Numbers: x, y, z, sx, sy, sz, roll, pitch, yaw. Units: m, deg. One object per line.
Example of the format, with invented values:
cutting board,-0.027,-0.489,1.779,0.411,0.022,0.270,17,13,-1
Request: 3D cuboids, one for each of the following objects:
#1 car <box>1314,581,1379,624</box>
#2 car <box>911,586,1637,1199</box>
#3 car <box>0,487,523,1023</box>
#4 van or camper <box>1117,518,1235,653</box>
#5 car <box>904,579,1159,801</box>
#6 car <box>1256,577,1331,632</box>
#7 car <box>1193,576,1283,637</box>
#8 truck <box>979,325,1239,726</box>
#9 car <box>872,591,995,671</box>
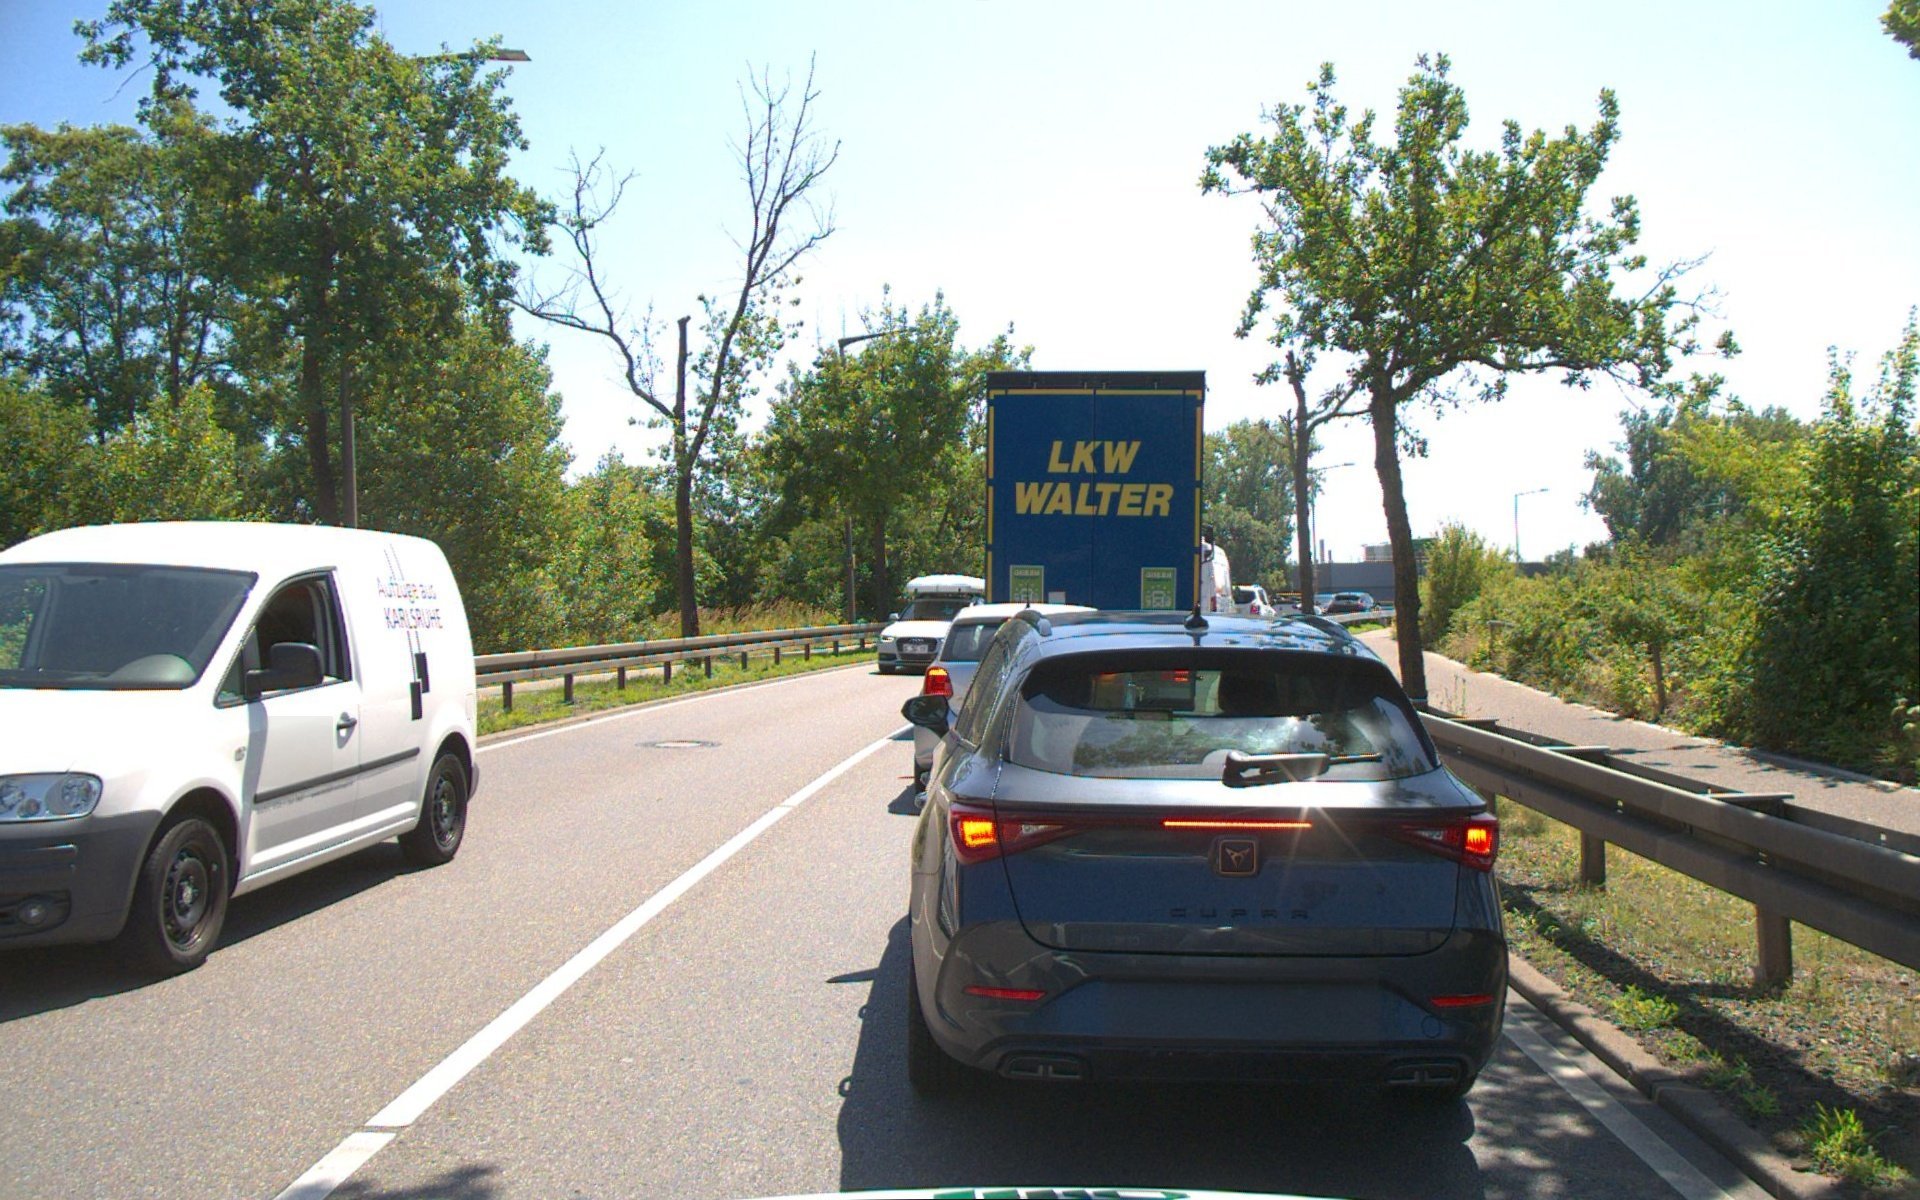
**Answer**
car,16.560,0.093,70.630,1.953,1.747,4.868,1,0,22
car,0.709,0.702,5.850,1.709,1.457,3.879,1,0,-1
car,-3.644,0.507,7.792,1.709,1.794,4.391,1,0,4
van or camper,5.415,-0.333,40.661,2.413,3.051,6.091,1,0,12
car,0.567,0.628,13.643,1.772,1.534,4.001,1,0,2
car,11.759,0.144,58.148,1.952,1.840,4.847,1,0,19
car,8.387,0.186,49.638,1.952,1.742,4.622,1,0,19
truck,2.674,-0.872,27.161,2.887,4.526,16.810,1,0,7
car,-0.440,0.562,32.390,1.780,1.446,4.470,1,0,7
